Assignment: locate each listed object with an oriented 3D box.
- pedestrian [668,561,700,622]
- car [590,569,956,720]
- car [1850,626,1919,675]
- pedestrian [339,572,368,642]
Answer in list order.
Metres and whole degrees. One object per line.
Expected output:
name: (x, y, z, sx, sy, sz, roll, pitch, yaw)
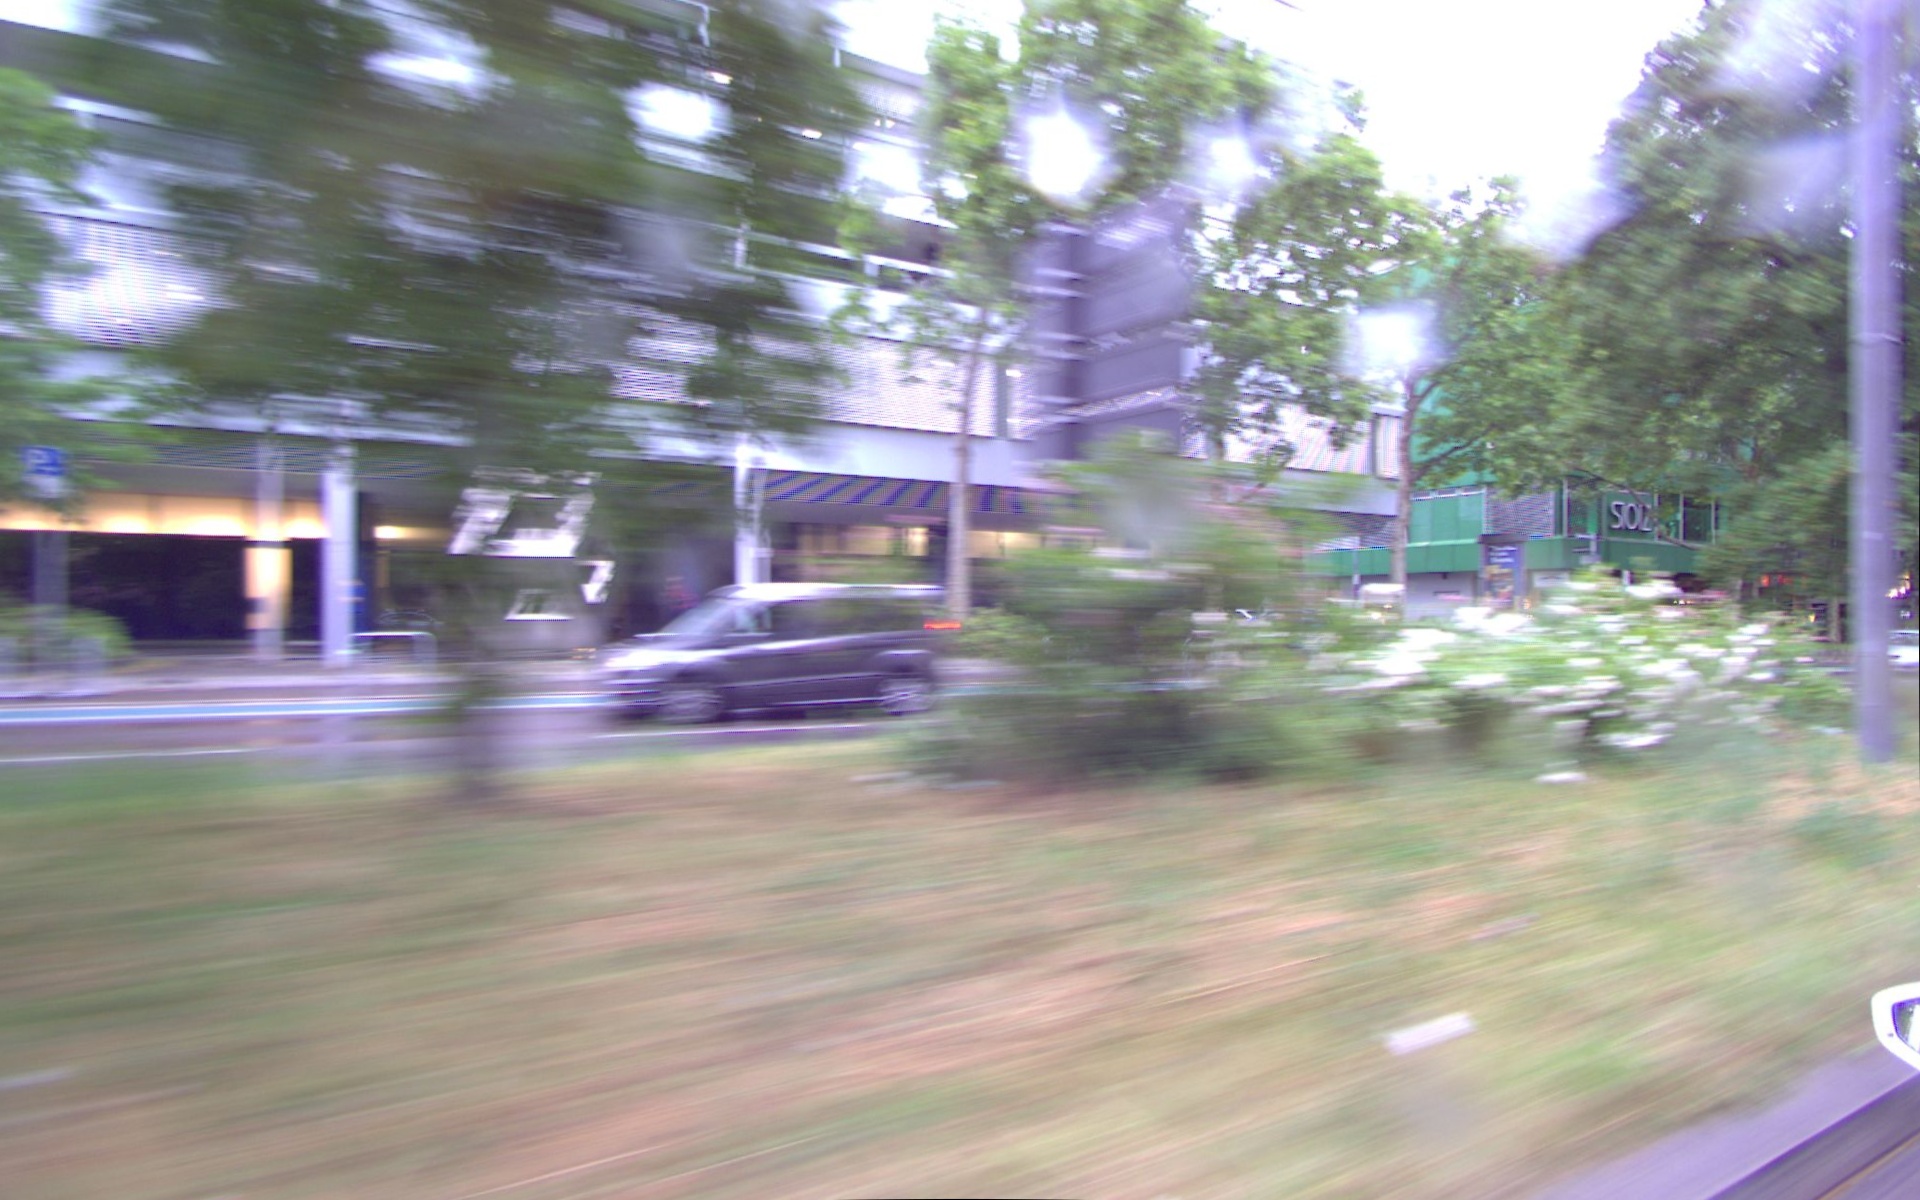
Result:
pedestrian: (-6.981, -0.219, 25.403, 0.569, 1.502, 0.606, 2, 1, -33)
car: (-2.552, 0.554, 13.931, 4.617, 1.780, 1.905, 1, 2, -29)
car: (30.844, 1.646, 32.715, 3.767, 1.454, 1.641, 2, -1, -30)
pedestrian: (-12.497, 0.135, 20.692, 0.469, 1.398, 0.634, 2, 1, -33)
